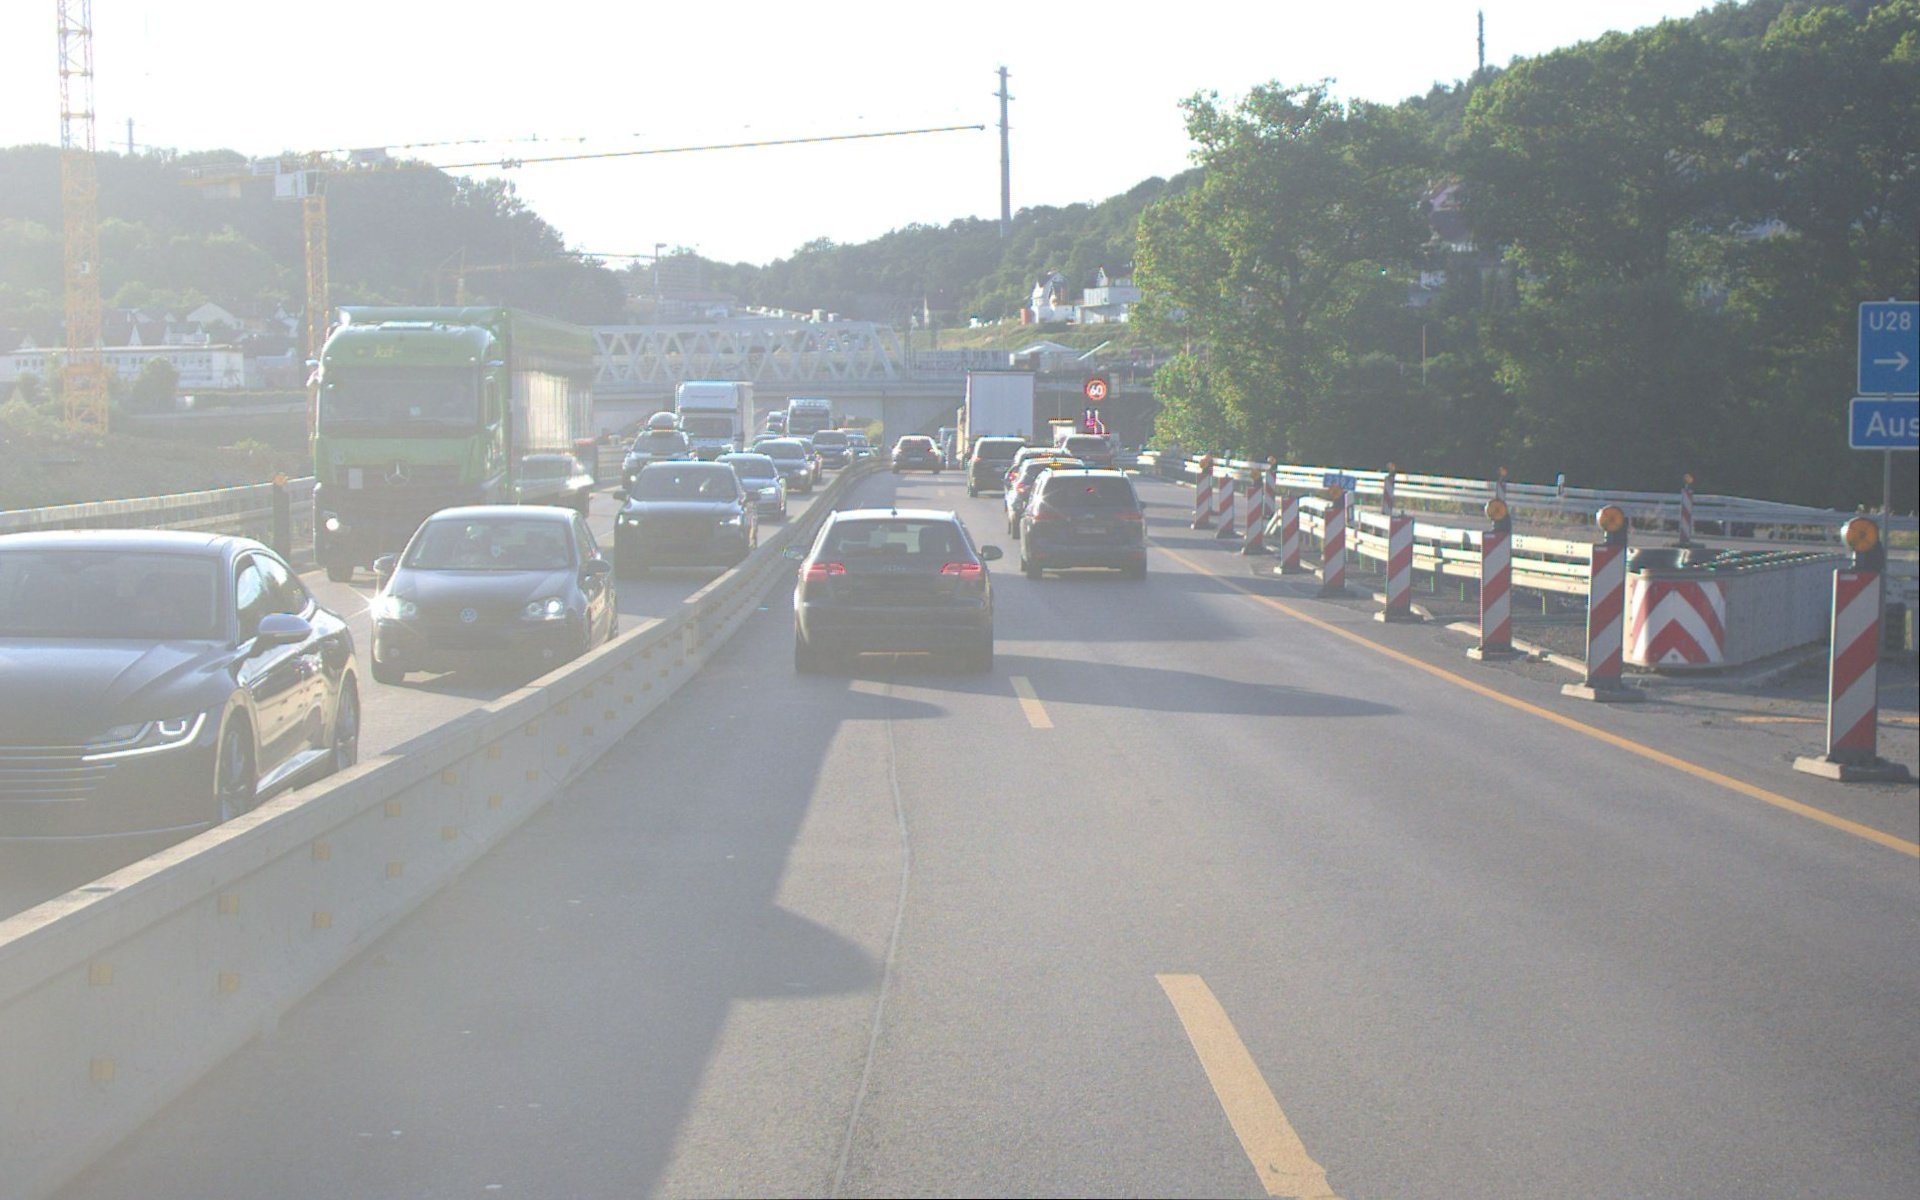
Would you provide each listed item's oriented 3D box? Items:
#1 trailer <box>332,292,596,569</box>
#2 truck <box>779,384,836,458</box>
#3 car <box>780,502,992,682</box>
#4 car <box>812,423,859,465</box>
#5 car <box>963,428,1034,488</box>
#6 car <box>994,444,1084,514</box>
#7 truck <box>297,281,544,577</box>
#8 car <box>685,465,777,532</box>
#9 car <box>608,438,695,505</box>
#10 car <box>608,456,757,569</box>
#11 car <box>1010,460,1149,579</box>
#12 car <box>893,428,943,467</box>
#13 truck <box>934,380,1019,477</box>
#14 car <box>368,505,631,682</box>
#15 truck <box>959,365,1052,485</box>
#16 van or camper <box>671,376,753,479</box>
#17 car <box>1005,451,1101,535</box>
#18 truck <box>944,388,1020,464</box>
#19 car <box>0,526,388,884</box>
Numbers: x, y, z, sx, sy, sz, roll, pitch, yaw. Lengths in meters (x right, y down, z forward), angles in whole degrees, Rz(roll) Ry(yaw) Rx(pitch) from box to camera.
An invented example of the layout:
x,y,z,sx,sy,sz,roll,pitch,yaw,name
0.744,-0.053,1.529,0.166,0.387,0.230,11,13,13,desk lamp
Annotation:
x,y,z,sx,sy,sz,roll,pitch,yaw,name
-8.038,-2.765,57.516,2.773,4.017,13.685,1,2,-2,trailer
-8.387,-9.839,189.564,2.814,4.034,5.673,0,3,1,truck
-0.700,-0.122,31.036,1.770,1.385,4.001,1,3,-2,car
-4.964,-6.258,137.507,1.827,1.634,4.531,0,3,-2,car
1.056,-3.961,96.100,1.814,1.626,4.412,1,2,-1,car
1.846,-2.868,81.487,1.875,1.594,4.966,0,2,-2,car
-7.861,-2.492,50.733,2.769,4.067,5.777,1,2,-1,truck
-5.132,-2.303,77.507,1.861,1.427,4.156,1,2,-1,car
-8.376,-3.511,93.768,1.993,1.758,4.441,1,2,0,car
-4.096,-1.304,51.375,1.911,1.603,4.495,0,1,-1,car
1.765,-1.257,52.057,1.812,1.609,4.527,-1,4,-1,car
-1.625,-5.892,133.058,1.863,1.415,4.001,1,2,-1,car
0.736,-8.545,170.662,3.890,4.482,15.270,1,3,-1,truck
-3.879,-0.098,29.568,1.715,1.405,4.328,0,1,-1,car
1.738,-7.202,139.004,3.385,4.482,15.271,1,4,0,truck
-8.670,-6.060,120.827,2.457,3.486,7.415,0,3,-1,van or camper
1.816,-2.153,68.255,1.774,1.580,4.135,1,3,0,car
1.290,-10.876,214.123,3.890,4.482,13.852,1,3,-3,truck
-3.921,0.371,15.917,1.836,1.405,4.495,0,1,-1,car
